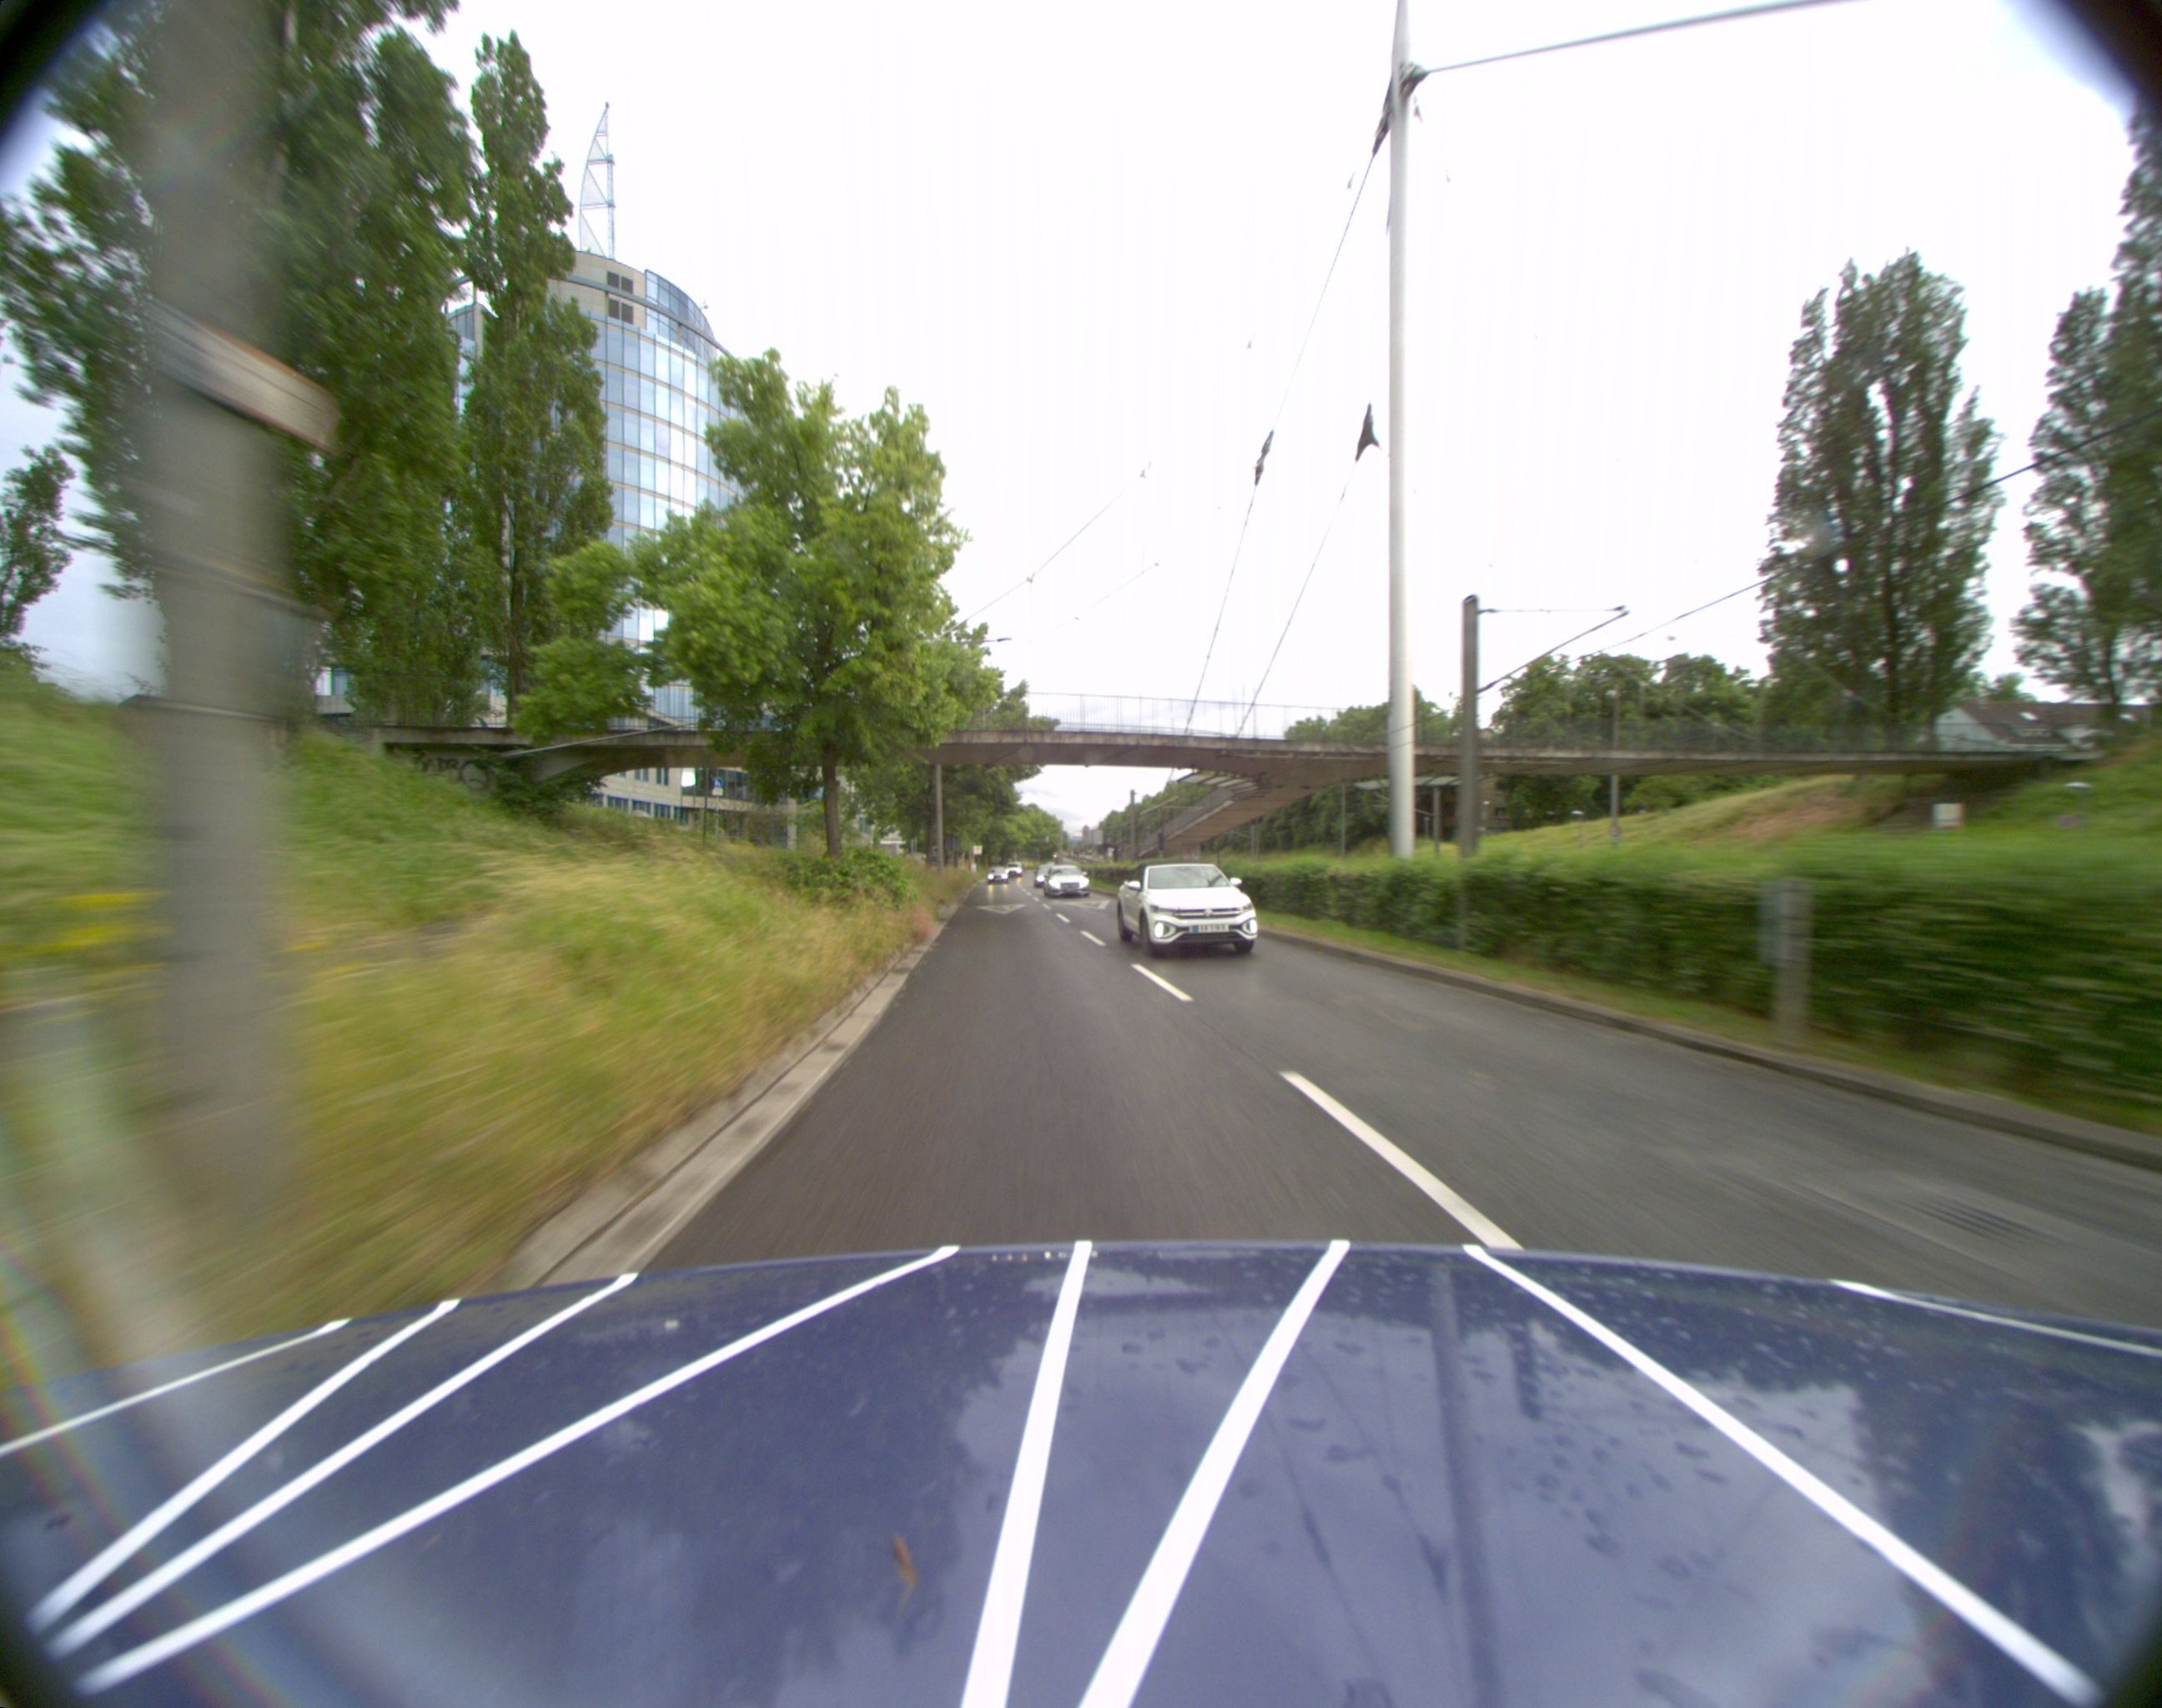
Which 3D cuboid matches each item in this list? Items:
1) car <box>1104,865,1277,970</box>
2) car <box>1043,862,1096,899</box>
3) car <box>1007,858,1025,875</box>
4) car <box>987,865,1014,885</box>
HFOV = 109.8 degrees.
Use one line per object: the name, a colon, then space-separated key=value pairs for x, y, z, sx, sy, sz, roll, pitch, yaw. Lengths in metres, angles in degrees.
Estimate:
car: x=1.745 y=0.993 z=13.845 sx=1.961 sy=1.457 sz=4.696 roll=-2 pitch=0 yaw=-7
car: x=-0.617 y=1.188 z=35.727 sx=1.961 sy=1.472 sz=4.696 roll=-3 pitch=0 yaw=-7
car: x=-8.225 y=1.571 z=96.978 sx=1.960 sy=1.914 sz=4.844 roll=-3 pitch=0 yaw=-2
car: x=-6.707 y=1.756 z=63.832 sx=1.961 sy=1.469 sz=4.697 roll=-3 pitch=0 yaw=-4
